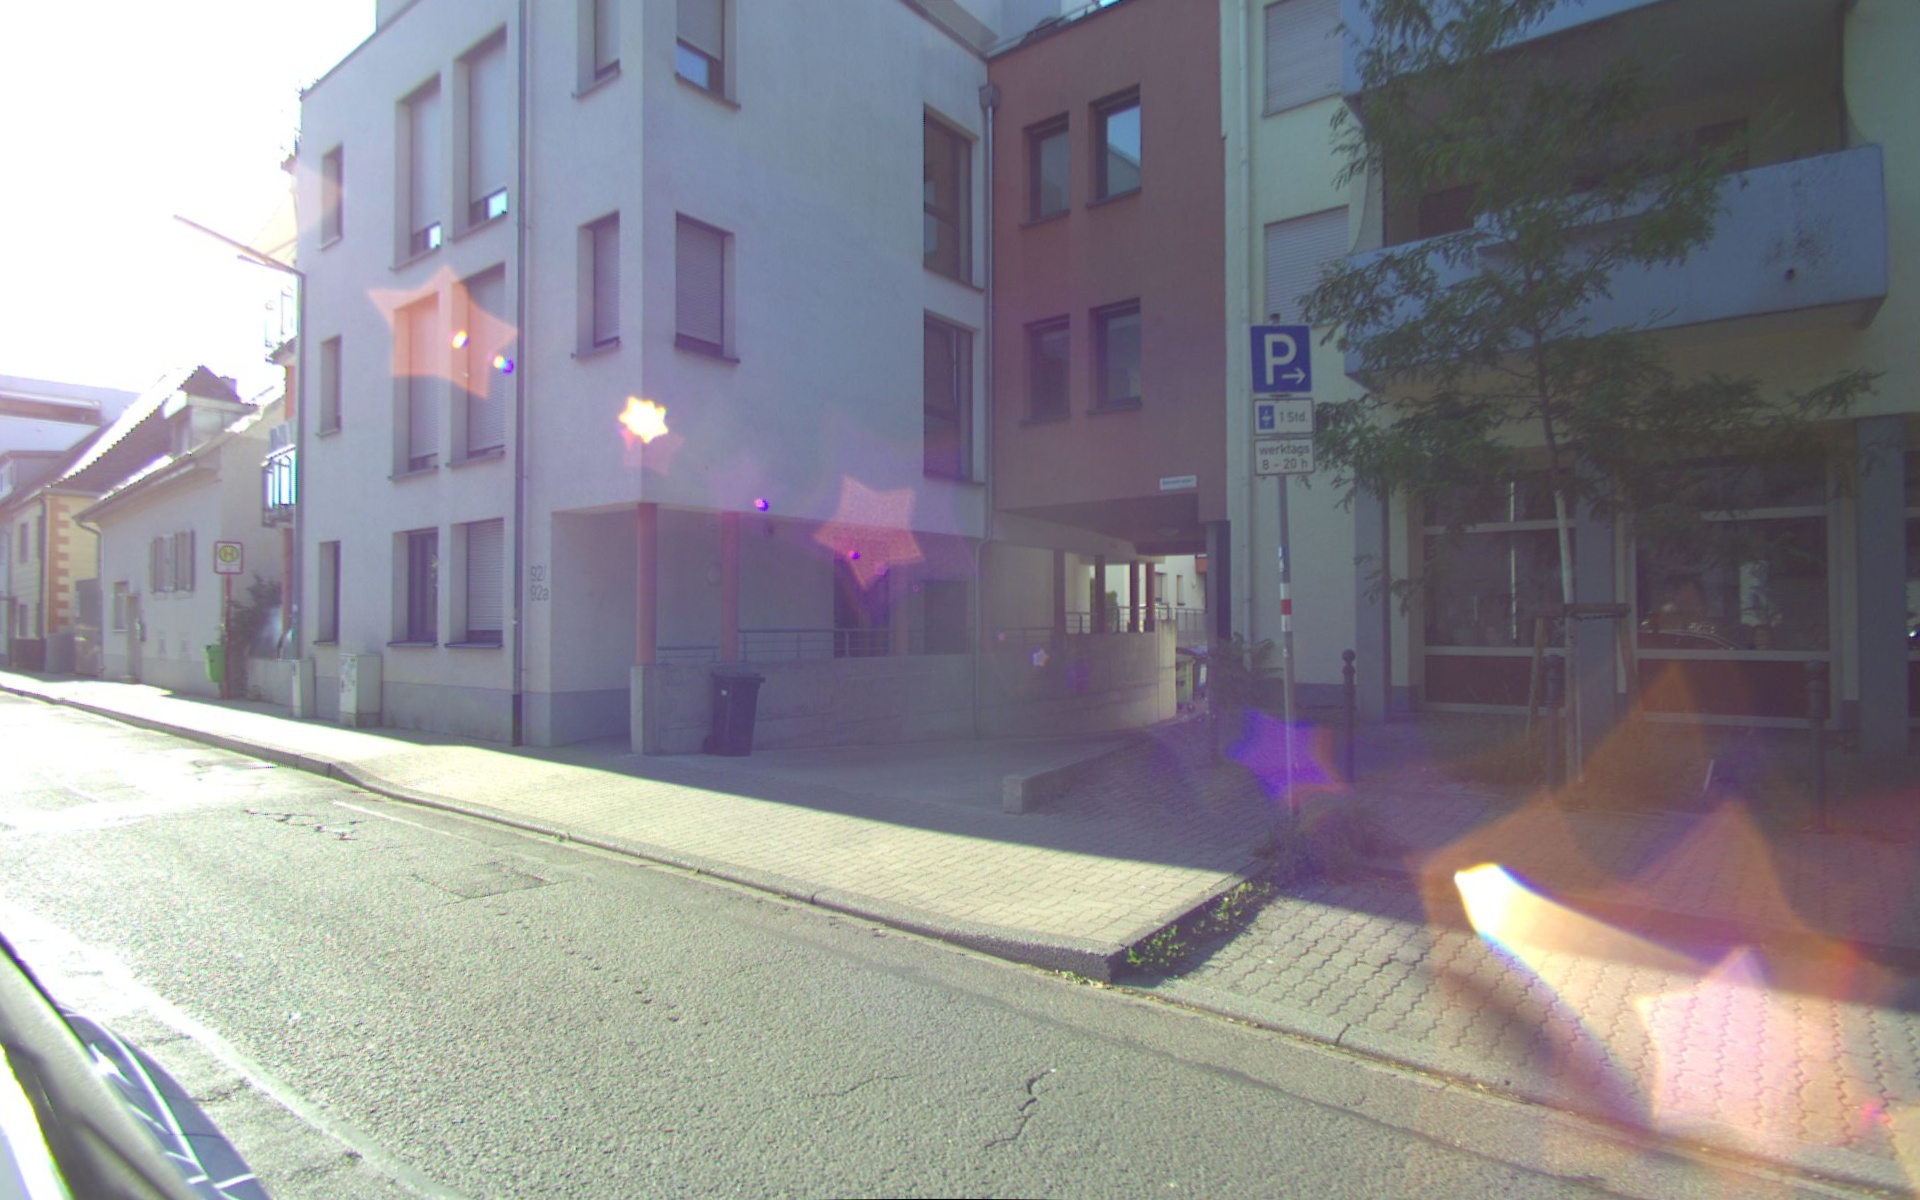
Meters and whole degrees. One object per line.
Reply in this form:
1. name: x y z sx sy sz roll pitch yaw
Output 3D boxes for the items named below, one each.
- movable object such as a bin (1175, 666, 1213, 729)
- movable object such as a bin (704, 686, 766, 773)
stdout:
1. movable object such as a bin: 5.485 2.260 23.710 0.696 1.406 0.750 -1 -2 28
2. movable object such as a bin: -2.454 1.396 11.049 0.433 0.882 0.485 -2 -3 37
